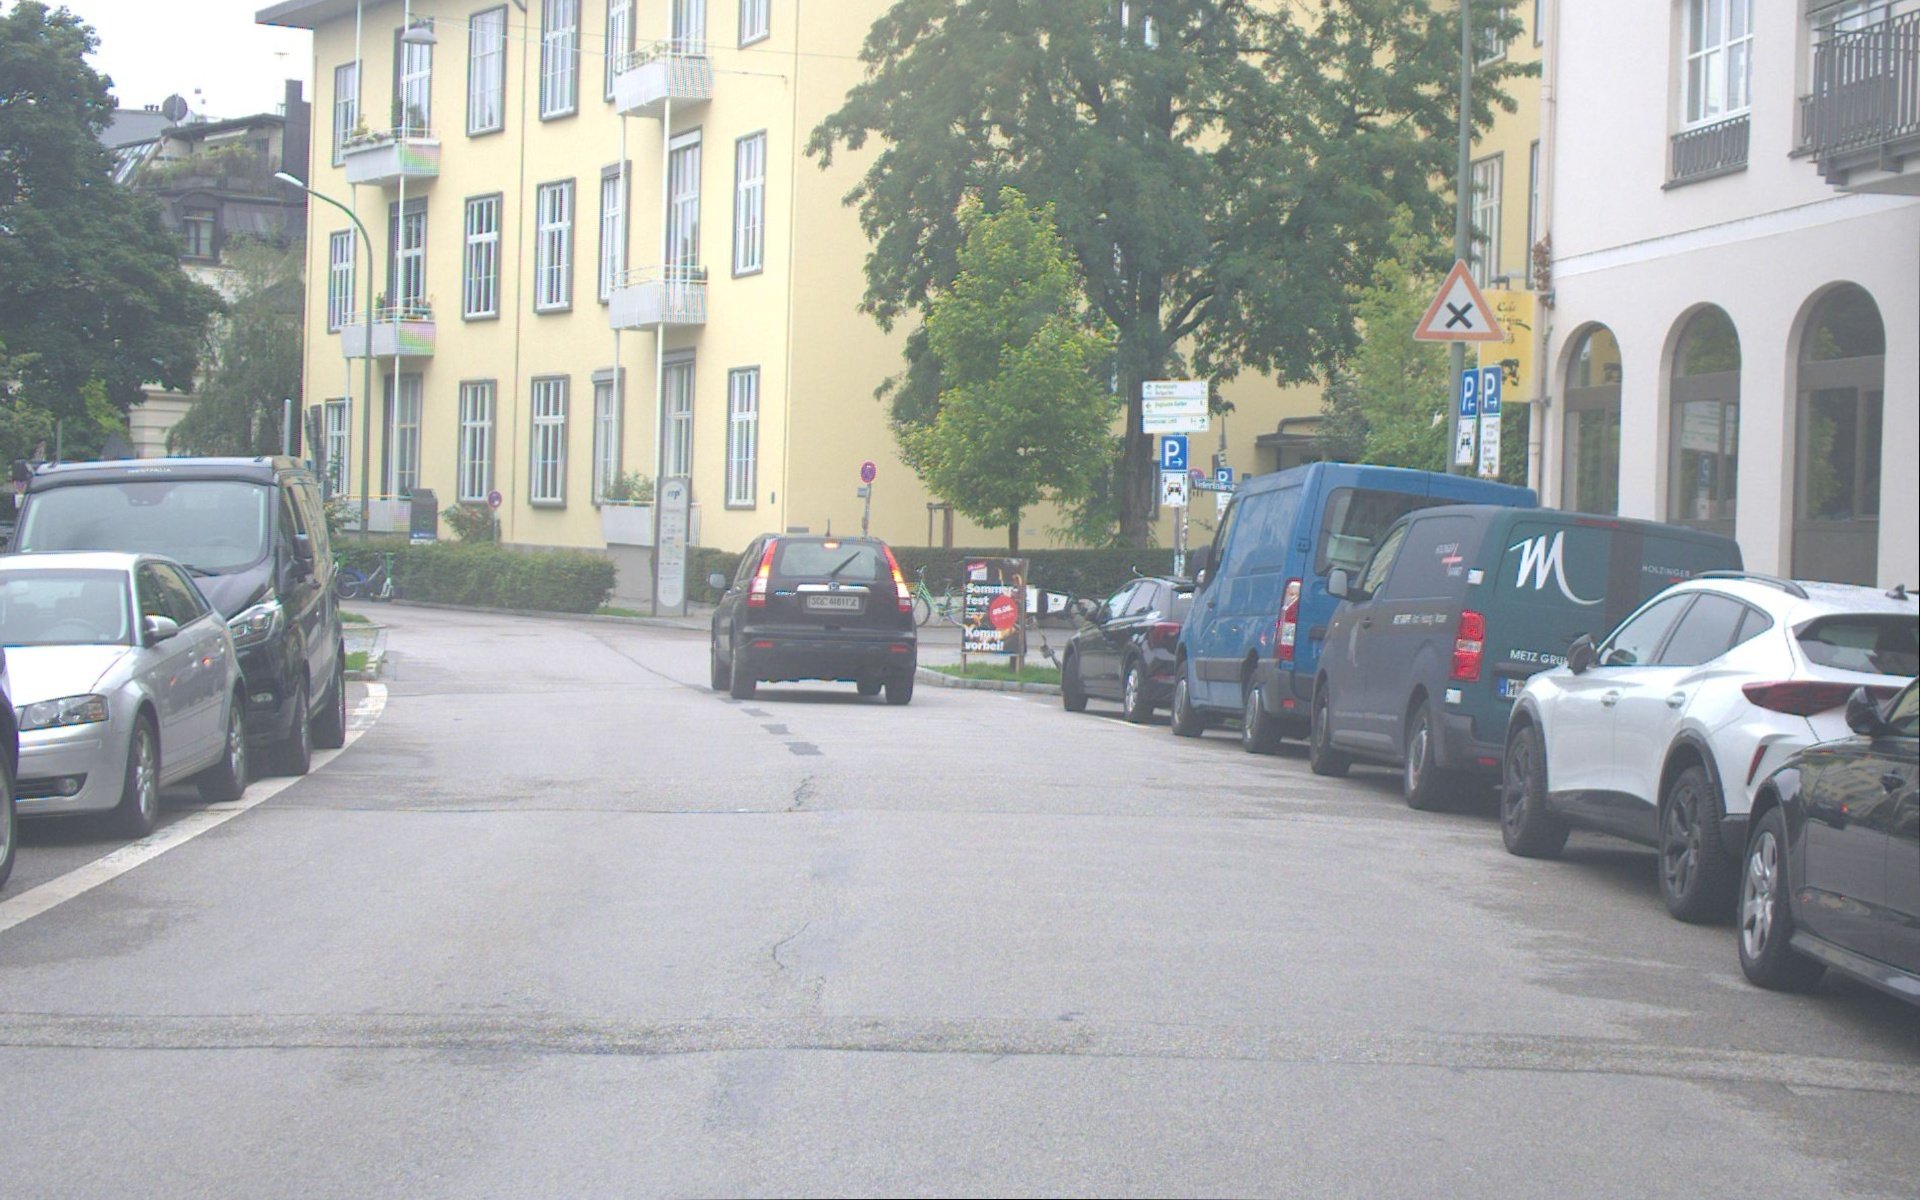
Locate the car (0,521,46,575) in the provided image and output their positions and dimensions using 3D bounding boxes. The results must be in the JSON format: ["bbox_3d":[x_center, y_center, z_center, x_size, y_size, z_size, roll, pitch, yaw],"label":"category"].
[{"bbox_3d":[-29.822,-1.625,106.466,1.863,1.628,4.284,0,1,-30],"label":"car"}]

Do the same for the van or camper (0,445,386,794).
[{"bbox_3d":[-5.146,0.063,22.936,1.960,2.058,4.754,-1,1,-2],"label":"van or camper"}]

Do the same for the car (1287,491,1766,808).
[{"bbox_3d":[3.482,0.233,22.160,1.964,1.810,4.937,0,1,-4],"label":"car"}]

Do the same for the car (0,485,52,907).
[{"bbox_3d":[-4.710,0.436,12.638,1.619,1.724,4.425,-1,1,-1],"label":"car"}]

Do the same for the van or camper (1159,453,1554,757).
[{"bbox_3d":[3.077,-0.019,27.985,2.060,2.223,5.439,0,1,-6],"label":"van or camper"}]

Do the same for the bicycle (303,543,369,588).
[{"bbox_3d":[-15.330,-0.848,84.522,0.576,1.082,1.931,1,2,25],"label":"bicycle"}]

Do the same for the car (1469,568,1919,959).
[{"bbox_3d":[3.814,0.667,16.275,1.738,1.532,4.274,2,1,-6],"label":"car"}]

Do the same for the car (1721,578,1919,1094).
[{"bbox_3d":[3.777,0.769,10.745,1.739,1.494,4.495,4,1,0],"label":"car"}]

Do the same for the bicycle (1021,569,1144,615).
[{"bbox_3d":[2.290,-0.148,64.390,2.211,0.776,0.610,2,1,13],"label":"bicycle"}]

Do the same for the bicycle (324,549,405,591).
[{"bbox_3d":[-14.269,-0.715,82.417,1.823,1.002,0.577,0,2,-34],"label":"bicycle"}]

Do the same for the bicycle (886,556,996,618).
[{"bbox_3d":[-0.371,-0.246,65.628,2.215,1.113,0.609,3,1,42],"label":"bicycle"}]

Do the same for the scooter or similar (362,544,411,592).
[{"bbox_3d":[-13.547,-0.757,81.189,0.496,1.105,1.408,1,2,21],"label":"scooter or similar"}]

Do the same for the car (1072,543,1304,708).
[{"bbox_3d":[2.219,0.207,34.343,1.703,1.513,3.959,0,1,-5],"label":"car"}]

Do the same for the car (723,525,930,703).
[{"bbox_3d":[-1.345,0.089,35.333,1.995,1.688,4.381,0,2,-1],"label":"car"}]

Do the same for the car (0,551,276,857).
[{"bbox_3d":[-4.757,0.460,17.917,1.619,1.373,4.072,-1,1,-1],"label":"car"}]
